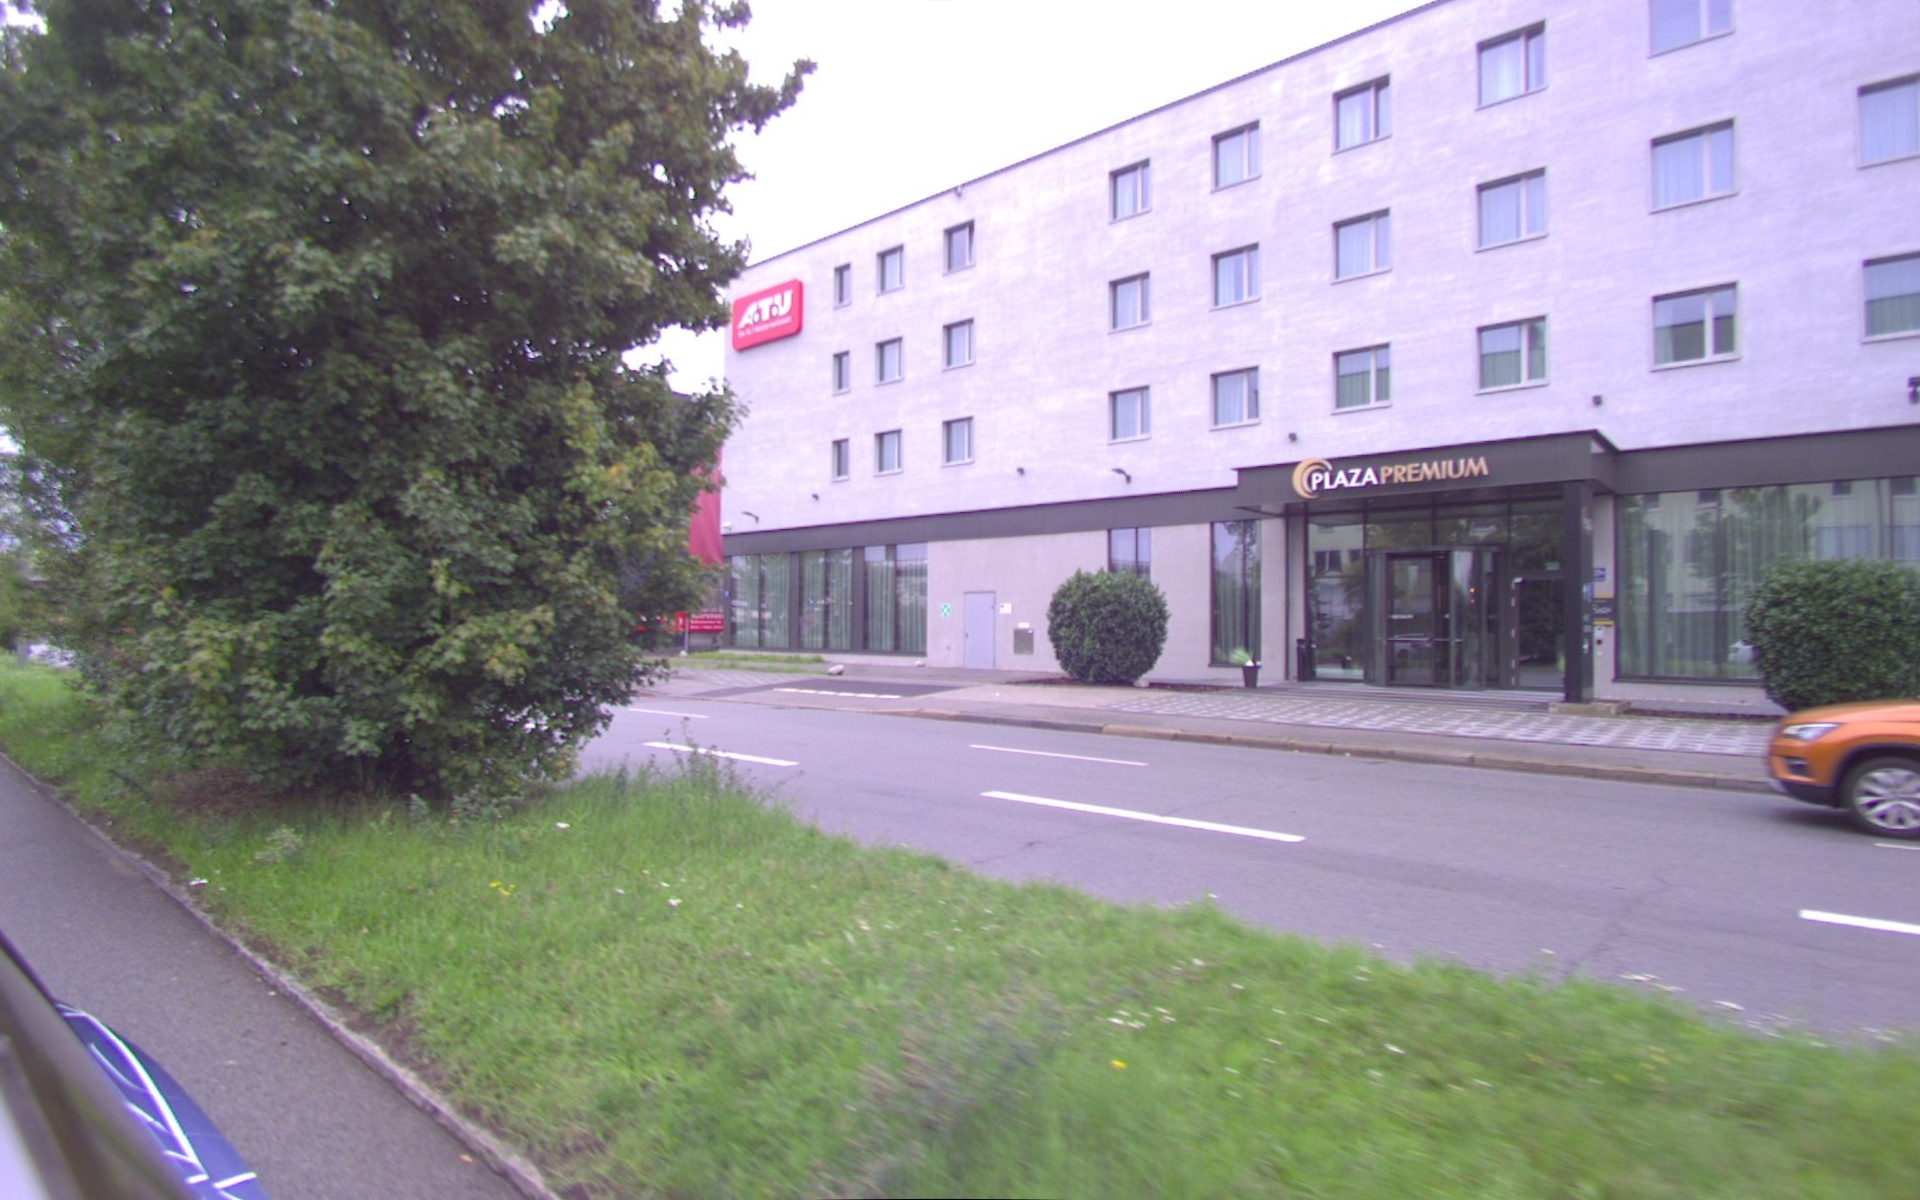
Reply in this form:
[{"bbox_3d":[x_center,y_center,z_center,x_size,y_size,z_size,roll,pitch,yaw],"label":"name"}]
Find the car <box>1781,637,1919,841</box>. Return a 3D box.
[{"bbox_3d":[8.942,1.085,7.548,4.302,1.560,1.717,-1,-3,41],"label":"car"}]
